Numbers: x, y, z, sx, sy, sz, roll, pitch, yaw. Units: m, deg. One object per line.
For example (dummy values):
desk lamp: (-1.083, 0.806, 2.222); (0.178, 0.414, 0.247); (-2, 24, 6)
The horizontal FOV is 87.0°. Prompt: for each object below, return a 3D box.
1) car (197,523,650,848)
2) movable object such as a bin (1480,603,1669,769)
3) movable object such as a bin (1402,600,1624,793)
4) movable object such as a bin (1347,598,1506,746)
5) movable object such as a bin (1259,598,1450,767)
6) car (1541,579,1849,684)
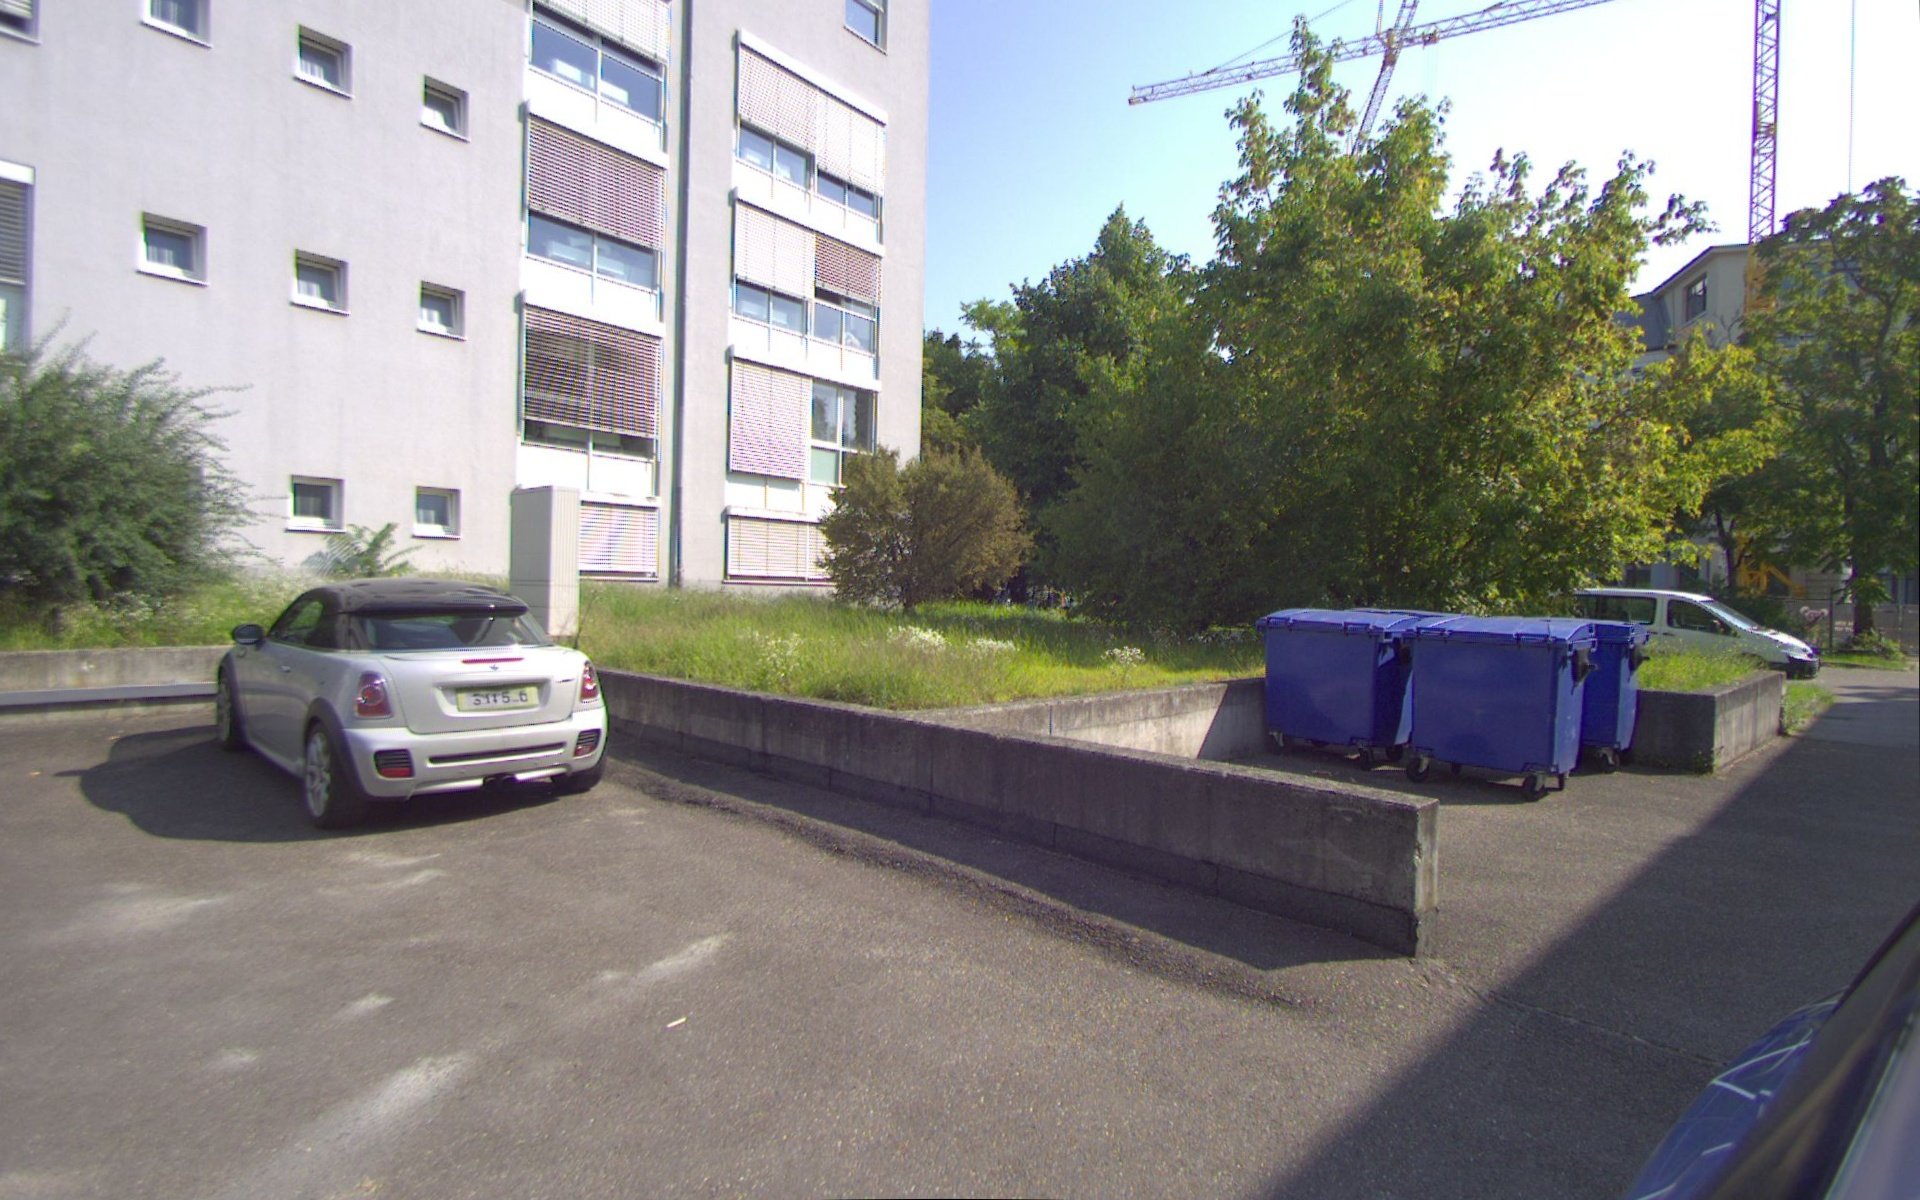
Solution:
car: (-3.976, 0.356, 7.227); (3.621, 1.563, 1.775); (8, 5, 43)
movable object such as a bin: (5.684, 0.726, 9.368); (1.308, 1.357, 1.083); (1, 1, 42)
movable object such as a bin: (4.454, 0.693, 8.160); (1.300, 1.357, 1.176); (1, 1, 44)
movable object such as a bin: (4.759, 0.674, 10.327); (1.225, 1.357, 1.061); (1, 1, 40)
movable object such as a bin: (3.556, 0.674, 9.140); (1.098, 1.357, 1.237); (0, 1, -42)
car: (15.262, 0.538, 21.251); (2.009, 1.945, 4.963); (0, 1, -43)
